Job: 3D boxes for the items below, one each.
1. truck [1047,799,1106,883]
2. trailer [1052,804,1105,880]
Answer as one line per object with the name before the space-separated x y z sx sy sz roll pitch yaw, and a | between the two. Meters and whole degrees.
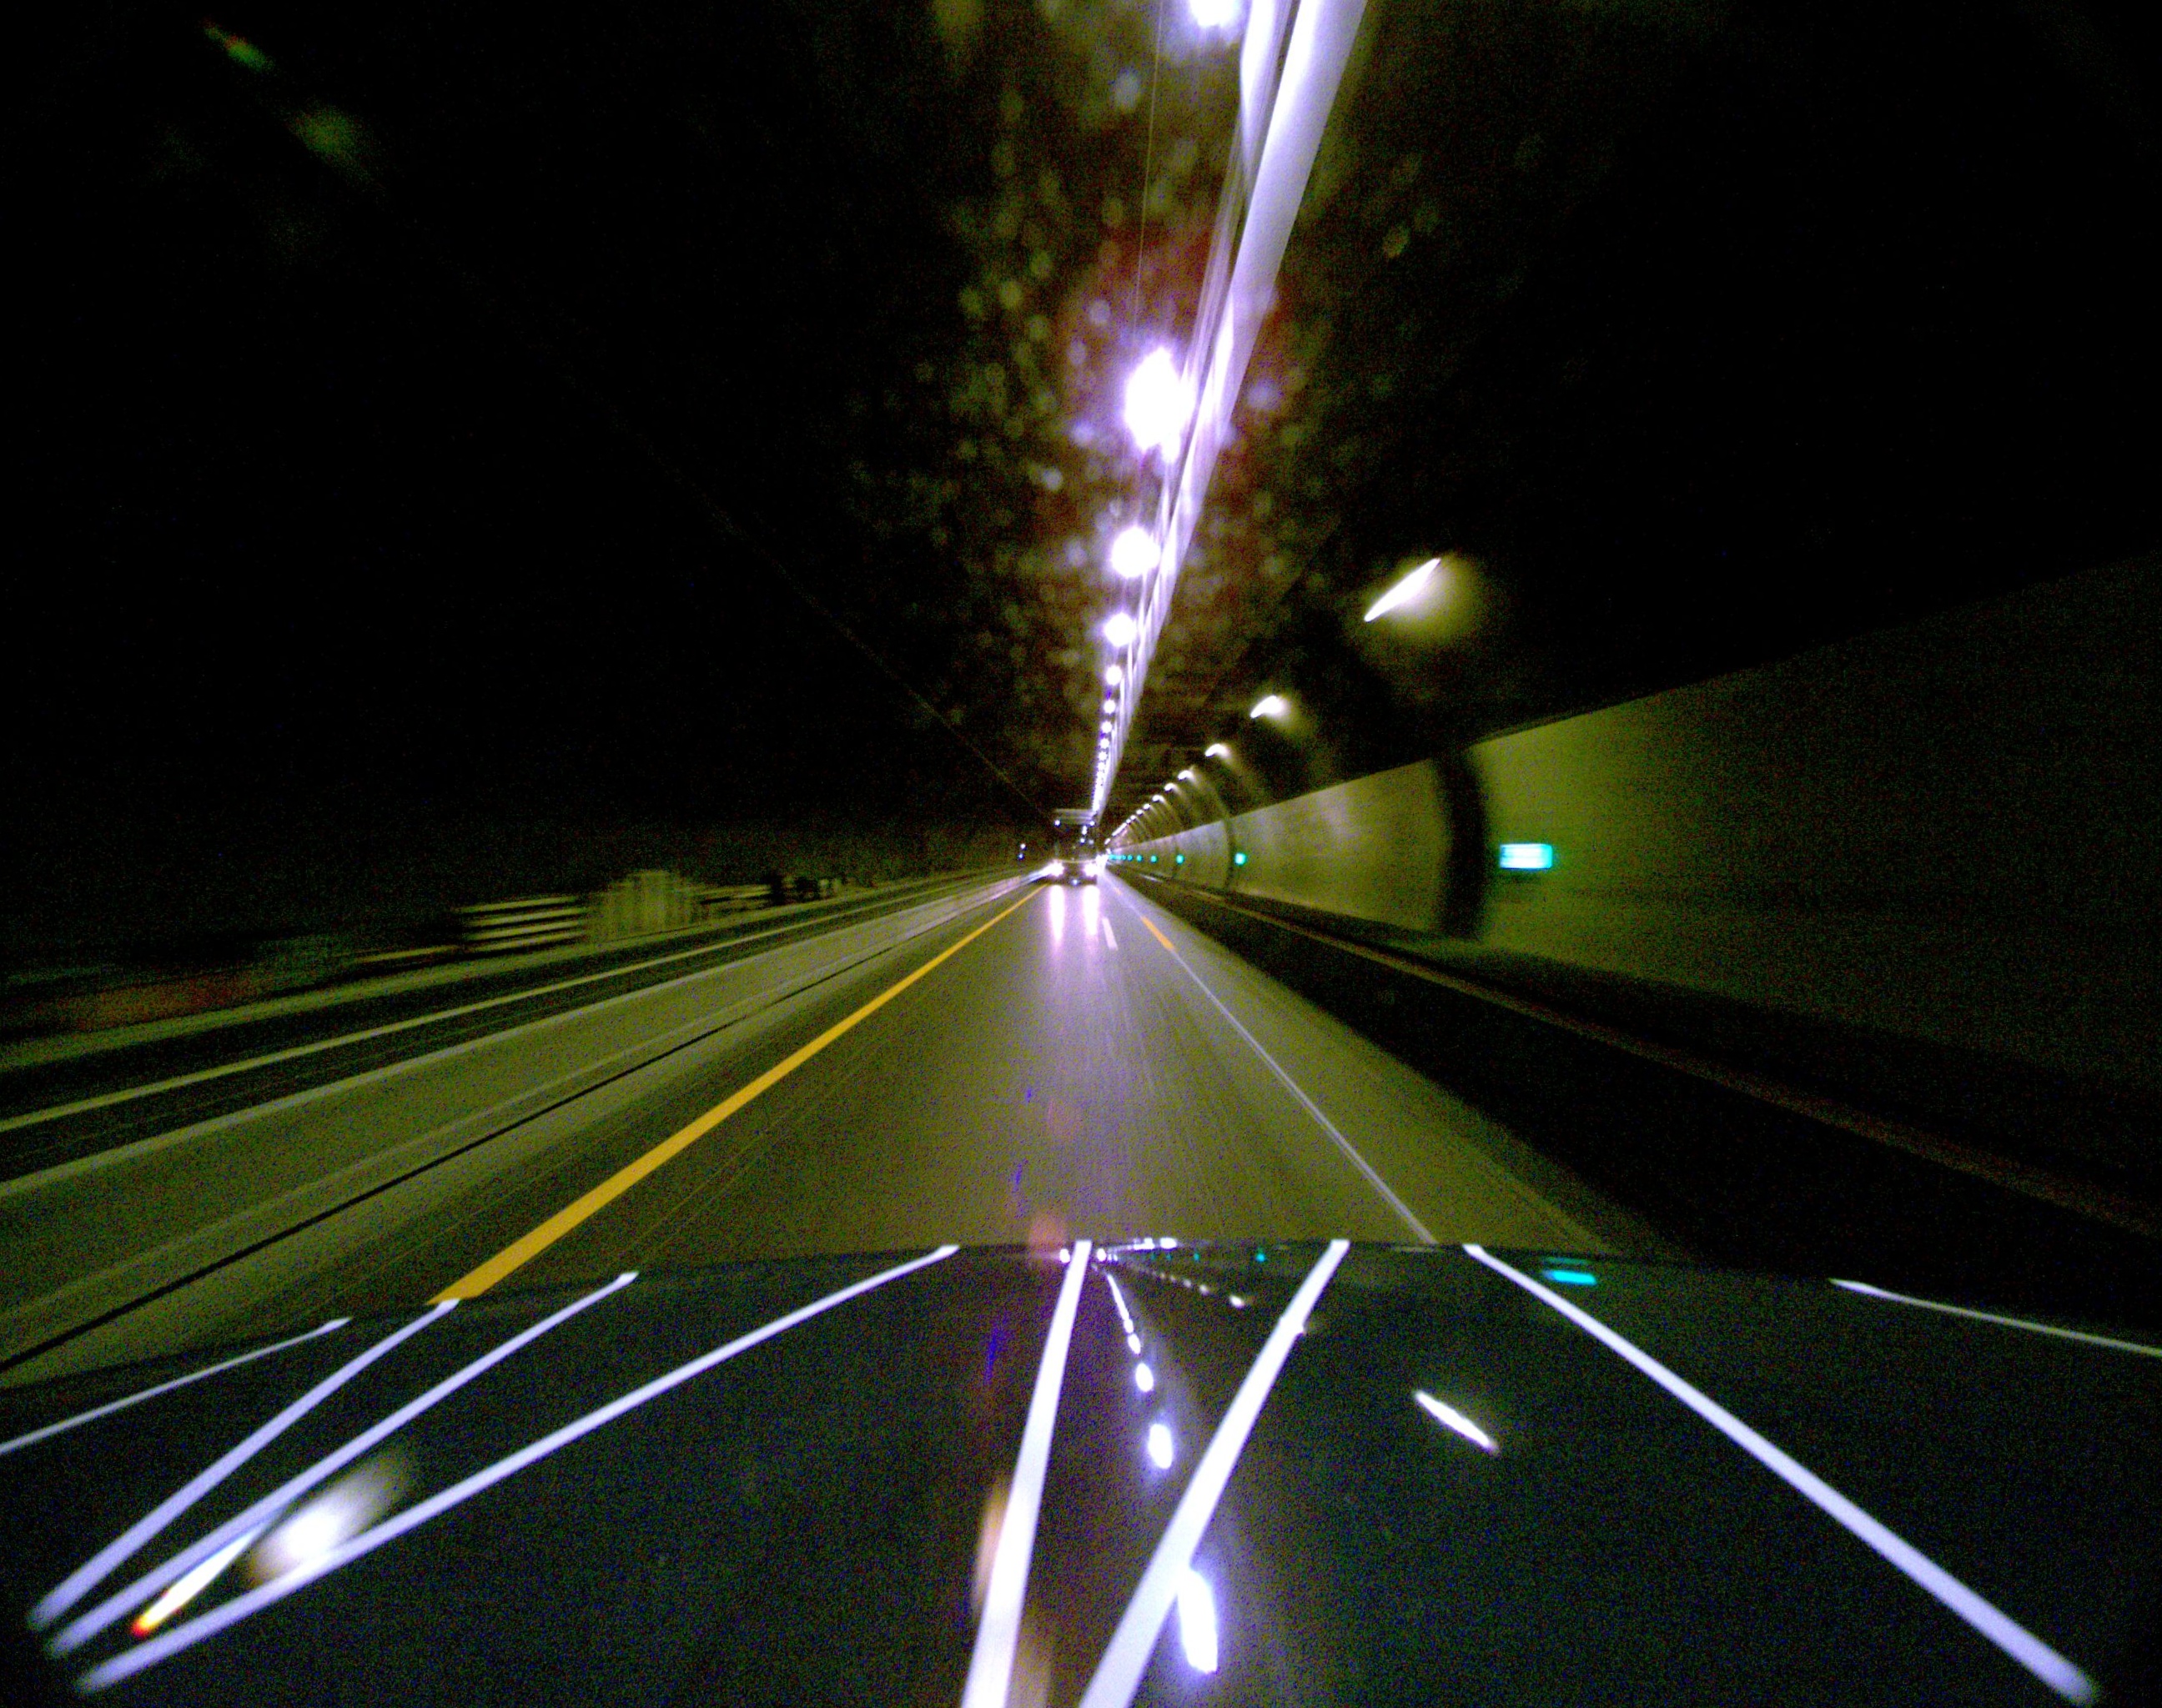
truck | -0.159 -0.721 43.500 2.950 4.338 6.675 -2 1 1
trailer | -0.042 -0.742 49.220 2.939 4.316 10.051 -2 1 1
